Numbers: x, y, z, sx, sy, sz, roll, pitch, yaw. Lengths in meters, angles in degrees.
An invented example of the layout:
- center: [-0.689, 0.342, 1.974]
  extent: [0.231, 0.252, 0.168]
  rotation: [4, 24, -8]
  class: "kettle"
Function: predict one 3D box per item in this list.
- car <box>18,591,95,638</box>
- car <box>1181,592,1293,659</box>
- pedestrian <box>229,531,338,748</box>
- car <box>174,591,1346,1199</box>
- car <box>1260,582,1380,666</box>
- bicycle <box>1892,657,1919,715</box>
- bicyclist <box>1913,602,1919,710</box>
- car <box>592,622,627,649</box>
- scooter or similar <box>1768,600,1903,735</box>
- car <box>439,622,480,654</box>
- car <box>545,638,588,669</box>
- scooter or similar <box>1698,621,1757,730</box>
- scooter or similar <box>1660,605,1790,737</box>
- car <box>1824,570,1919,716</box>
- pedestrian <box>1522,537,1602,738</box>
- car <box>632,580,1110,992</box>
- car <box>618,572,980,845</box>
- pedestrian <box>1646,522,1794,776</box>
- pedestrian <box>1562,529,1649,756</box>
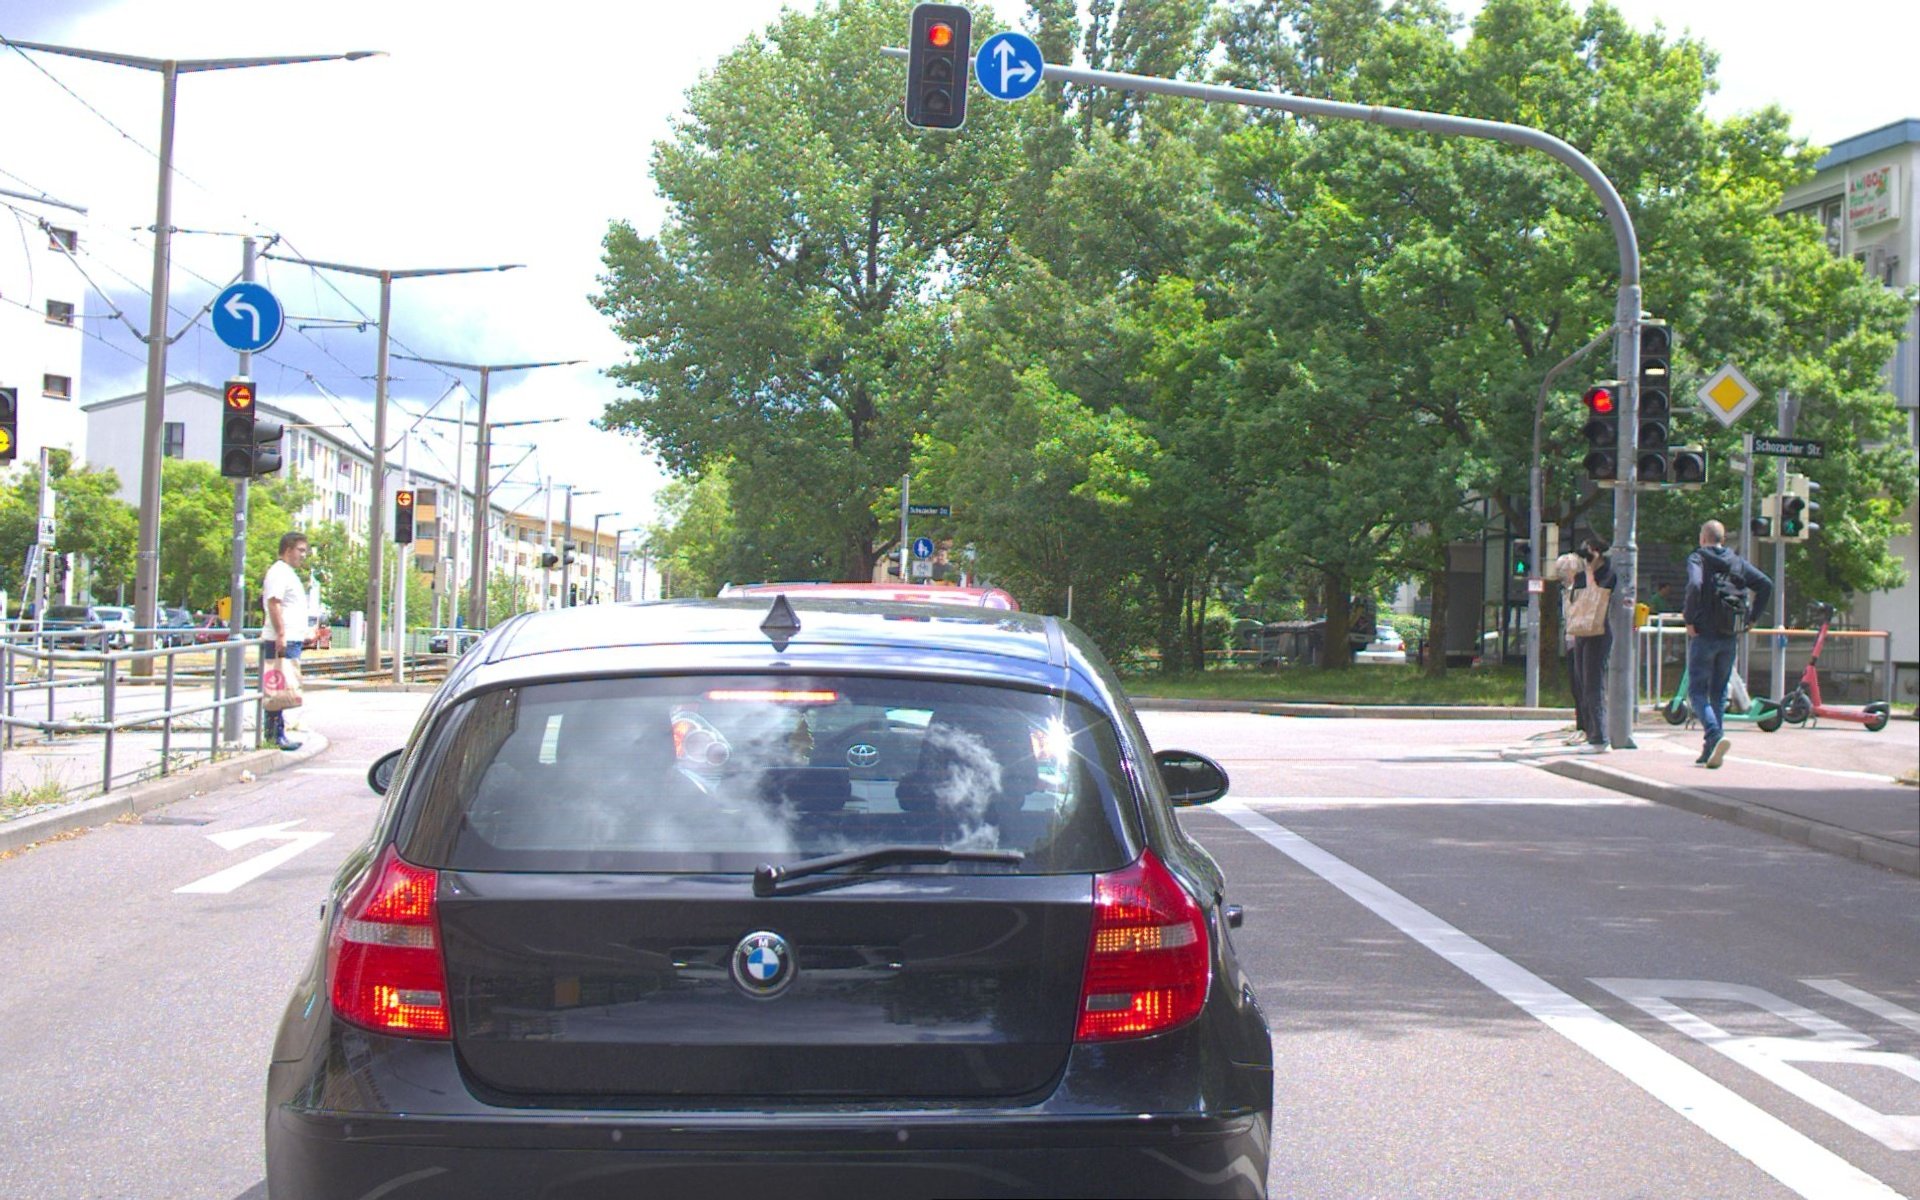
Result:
- center: [-29.391, 0.458, 111.927]
  extent: [1.591, 1.469, 3.775]
  rotation: [1, 0, -2]
  class: "car"
- center: [7.276, 0.656, 90.694]
  extent: [1.862, 1.656, 4.001]
  rotation: [1, 0, -11]
  class: "car"
- center: [-5.460, 0.312, 27.732]
  extent: [0.687, 1.728, 0.688]
  rotation: [0, 0, -28]
  class: "pedestrian"
- center: [-0.315, 0.703, 6.739]
  extent: [1.700, 1.395, 3.420]
  rotation: [1, 0, -1]
  class: "car"
- center: [8.325, 0.541, 79.751]
  extent: [1.726, 1.865, 4.001]
  rotation: [1, 0, -9]
  class: "car"
- center: [10.791, 0.916, 36.587]
  extent: [1.589, 0.608, 0.533]
  rotation: [-1, 1, 37]
  class: "bicycle"
- center: [10.501, 0.601, 36.826]
  extent: [0.399, 1.153, 0.502]
  rotation: [1, 0, 37]
  class: "bicyclist"
- center: [-20.385, 2.063, 199.899]
  extent: [1.651, 1.529, 3.871]
  rotation: [-1, 0, -1]
  class: "car"
- center: [8.634, 0.661, 33.937]
  extent: [1.150, 1.268, 0.555]
  rotation: [2, 0, 2]
  class: "scooter or similar"
- center: [-23.964, 1.805, 164.610]
  extent: [1.794, 1.405, 4.001]
  rotation: [1, 0, -7]
  class: "car"
- center: [-20.451, 2.765, 178.619]
  extent: [1.651, 1.529, 3.871]
  rotation: [1, 0, 2]
  class: "car"
- center: [7.799, 0.753, 34.911]
  extent: [0.548, 1.060, 1.261]
  rotation: [1, 0, 13]
  class: "scooter or similar"
- center: [7.342, 0.674, 33.025]
  extent: [1.110, 1.231, 0.539]
  rotation: [1, 0, 2]
  class: "scooter or similar"
- center: [14.756, 0.597, 48.515]
  extent: [4.534, 2.007, 2.000]
  rotation: [0, 0, -8]
  class: "car"
- center: [5.340, 0.330, 30.512]
  extent: [0.636, 1.760, 0.518]
  rotation: [1, 0, 6]
  class: "pedestrian"
- center: [-0.328, 0.636, 13.642]
  extent: [1.638, 1.395, 3.420]
  rotation: [1, 0, -1]
  class: "car"
- center: [-0.881, 0.560, 20.550]
  extent: [1.900, 1.417, 4.539]
  rotation: [1, 0, -1]
  class: "car"
- center: [5.853, 0.366, 26.519]
  extent: [0.795, 1.869, 1.013]
  rotation: [4, 0, 2]
  class: "pedestrian"
- center: [5.383, 0.348, 28.693]
  extent: [0.636, 1.870, 0.518]
  rotation: [1, 0, 6]
  class: "pedestrian"
